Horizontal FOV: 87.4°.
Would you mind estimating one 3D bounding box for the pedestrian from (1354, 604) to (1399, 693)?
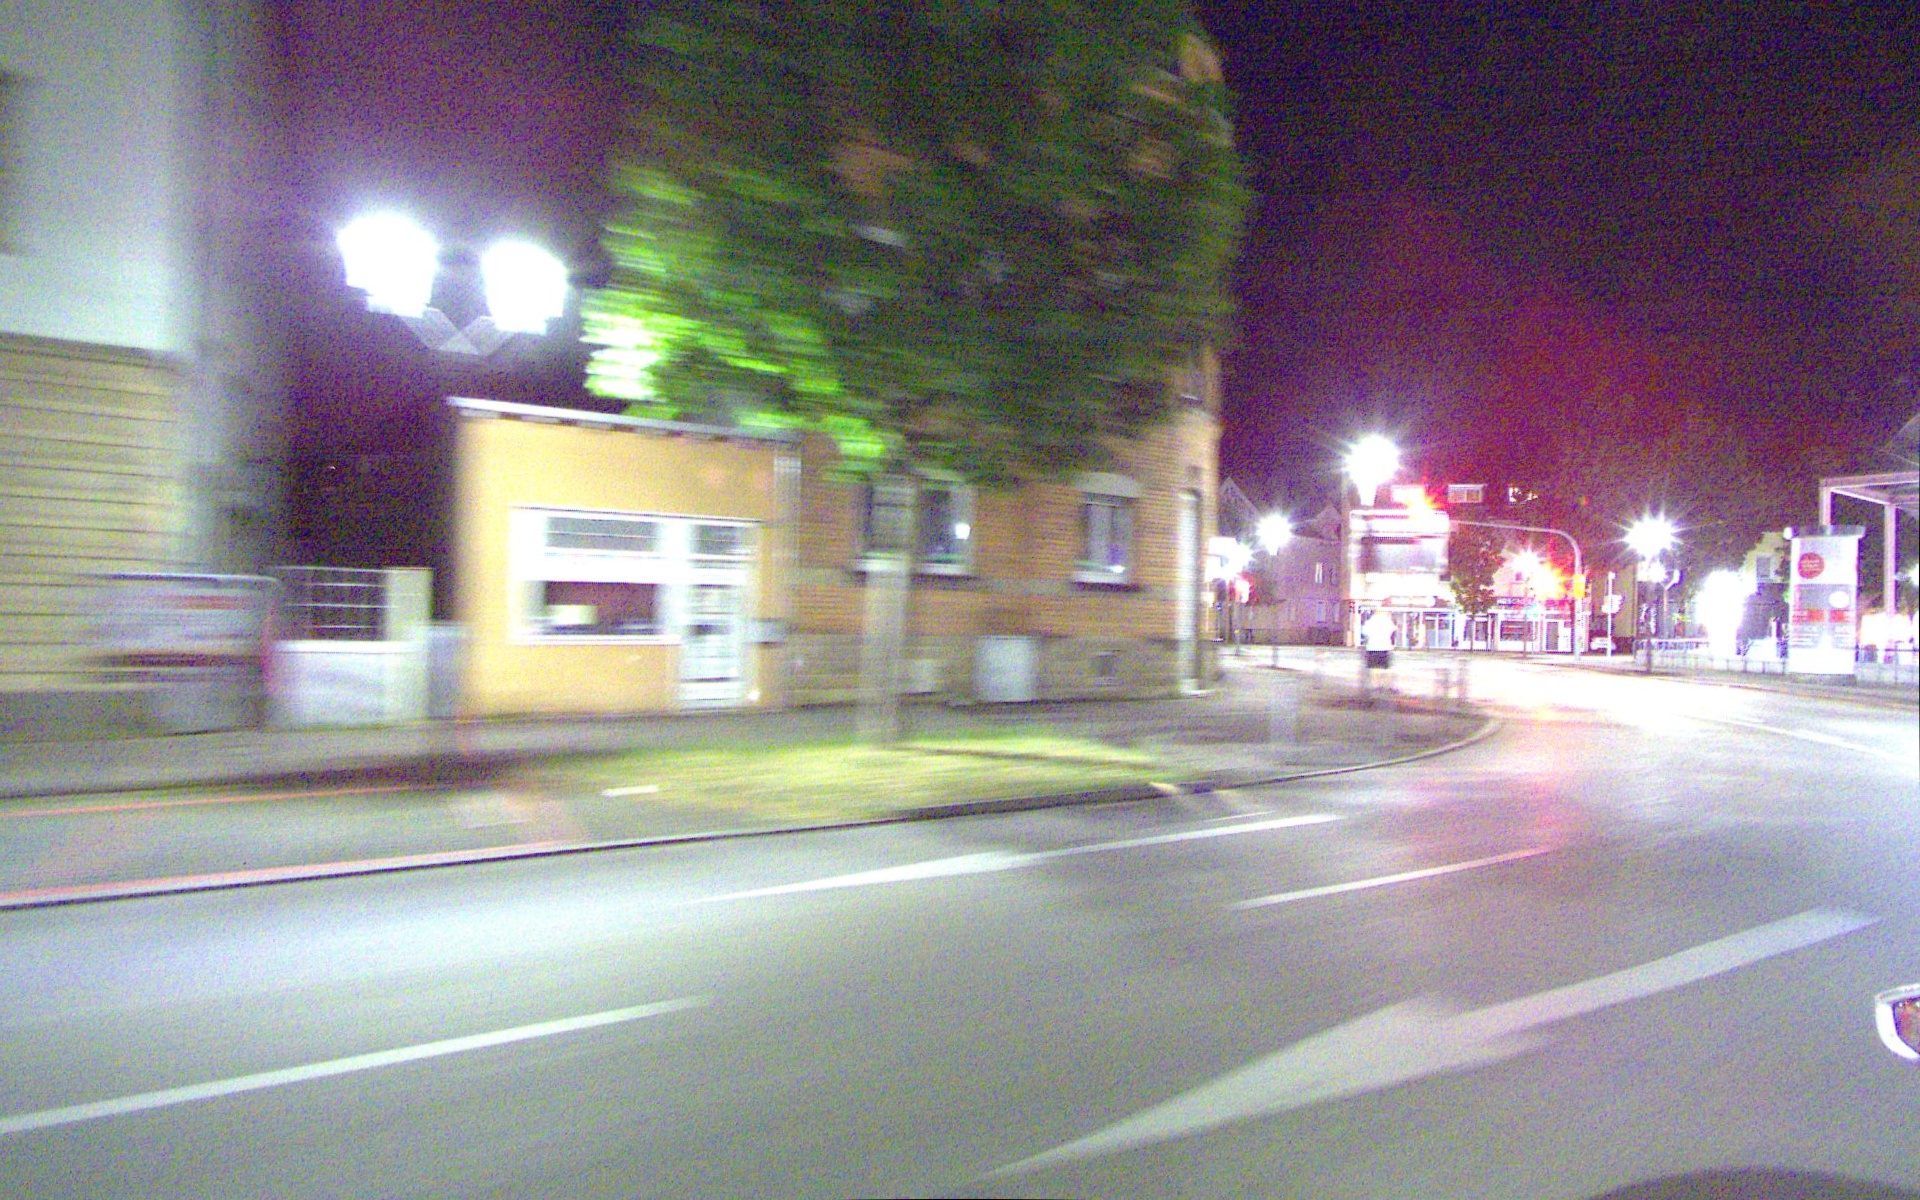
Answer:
[{"bbox_3d":[8.918,1.025,21.537,0.711,1.846,0.693,2,0,14],"label":"pedestrian"}]

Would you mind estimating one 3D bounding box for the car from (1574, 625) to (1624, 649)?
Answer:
[{"bbox_3d":[43.922,2.511,69.161,1.960,1.595,3.656,0,-1,16],"label":"car"}]

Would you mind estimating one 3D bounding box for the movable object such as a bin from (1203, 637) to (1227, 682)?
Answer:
[{"bbox_3d":[5.864,1.362,23.114,0.488,1.004,0.559,1,-1,12],"label":"movable object such as a bin"}]

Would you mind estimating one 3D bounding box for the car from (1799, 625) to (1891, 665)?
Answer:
[{"bbox_3d":[37.637,1.894,42.716,4.284,1.595,1.981,1,-1,-35],"label":"car"}]

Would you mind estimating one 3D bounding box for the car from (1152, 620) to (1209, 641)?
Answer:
[{"bbox_3d":[17.441,2.422,79.567,1.979,1.594,4.290,2,-3,-33],"label":"car"}]
